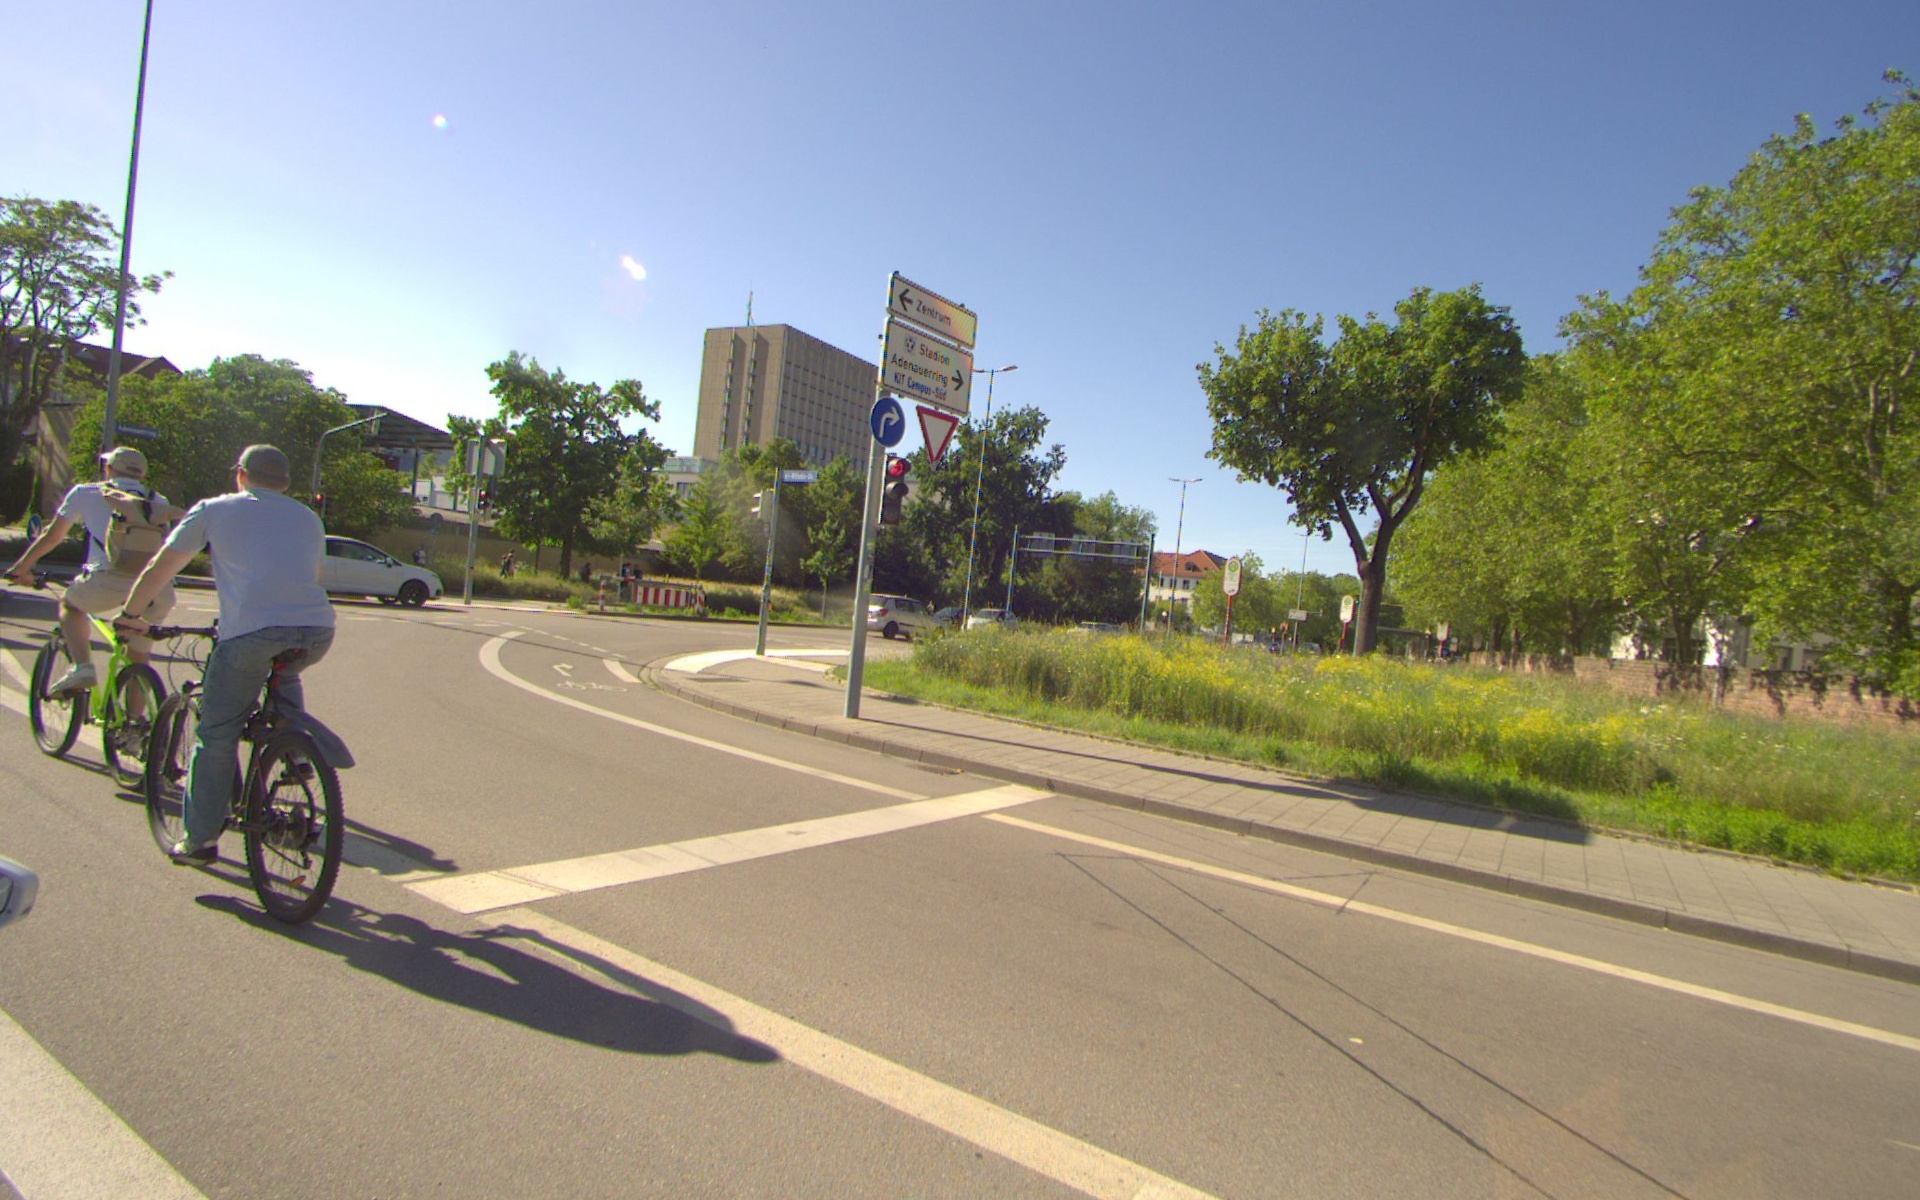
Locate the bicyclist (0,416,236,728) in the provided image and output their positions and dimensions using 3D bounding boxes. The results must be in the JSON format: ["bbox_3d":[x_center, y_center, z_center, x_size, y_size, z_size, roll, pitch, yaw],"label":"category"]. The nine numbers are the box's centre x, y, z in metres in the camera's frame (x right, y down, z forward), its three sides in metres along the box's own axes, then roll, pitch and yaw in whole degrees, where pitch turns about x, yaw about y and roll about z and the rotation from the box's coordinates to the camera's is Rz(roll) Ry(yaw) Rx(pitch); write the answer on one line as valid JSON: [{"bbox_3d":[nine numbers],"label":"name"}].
[{"bbox_3d":[-4.830,-0.161,5.683,1.063,1.601,0.675,7,-1,31],"label":"bicyclist"}]

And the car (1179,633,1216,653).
[{"bbox_3d":[23.616,4.261,99.982,1.969,1.625,4.504,7,0,35],"label":"car"}]

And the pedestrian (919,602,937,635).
[{"bbox_3d":[-2.260,1.274,70.352,0.633,2.194,0.912,7,1,35],"label":"pedestrian"}]

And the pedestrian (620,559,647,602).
[{"bbox_3d":[-17.260,-1.030,53.222,0.800,2.106,0.896,7,1,35],"label":"pedestrian"}]

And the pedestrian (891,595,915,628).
[{"bbox_3d":[-3.915,0.807,69.306,0.966,2.106,1.186,7,1,35],"label":"pedestrian"}]

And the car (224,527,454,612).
[{"bbox_3d":[-13.777,-0.640,22.485,1.735,1.390,3.981,7,0,41],"label":"car"}]

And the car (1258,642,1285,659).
[{"bbox_3d":[36.718,5.945,118.493,1.891,1.625,4.075,7,0,32],"label":"car"}]

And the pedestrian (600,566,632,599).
[{"bbox_3d":[-17.598,-0.876,51.439,0.865,1.540,1.144,7,1,35],"label":"pedestrian"}]

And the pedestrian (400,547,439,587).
[{"bbox_3d":[-22.952,-1.383,42.728,0.917,1.540,1.083,7,1,41],"label":"pedestrian"}]

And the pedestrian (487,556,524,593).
[{"bbox_3d":[-20.487,-1.152,45.350,0.865,1.540,1.074,7,1,36],"label":"pedestrian"}]

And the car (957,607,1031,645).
[{"bbox_3d":[1.880,1.405,54.231,1.882,1.625,4.124,7,0,37],"label":"car"}]

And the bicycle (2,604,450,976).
[{"bbox_3d":[-3.060,0.658,4.142,1.871,1.064,0.748,6,1,30],"label":"bicycle"}]

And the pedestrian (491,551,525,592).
[{"bbox_3d":[-20.892,-1.312,46.540,0.911,1.754,0.963,7,1,35],"label":"pedestrian"}]

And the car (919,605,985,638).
[{"bbox_3d":[-0.421,1.281,59.315,1.806,1.590,3.989,7,0,34],"label":"car"}]

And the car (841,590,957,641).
[{"bbox_3d":[-2.140,0.573,35.845,1.868,1.419,3.839,3,-4,42],"label":"car"}]

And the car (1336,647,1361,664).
[{"bbox_3d":[52.776,7.565,136.572,1.968,2.062,4.836,7,0,33],"label":"car"}]

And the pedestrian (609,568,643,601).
[{"bbox_3d":[-16.945,-0.792,51.019,0.975,1.540,1.129,7,1,35],"label":"pedestrian"}]

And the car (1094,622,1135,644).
[{"bbox_3d":[12.830,2.724,83.545,1.782,1.509,3.958,4,-2,33],"label":"car"}]

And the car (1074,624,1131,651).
[{"bbox_3d":[10.646,2.833,74.908,1.909,1.613,4.860,7,0,38],"label":"car"}]

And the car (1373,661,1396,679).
[{"bbox_3d":[42.125,6.923,99.694,1.712,1.535,3.995,7,0,27],"label":"car"}]

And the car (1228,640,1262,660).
[{"bbox_3d":[28.866,5.051,101.805,1.968,1.625,4.127,7,0,35],"label":"car"}]

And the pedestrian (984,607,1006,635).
[{"bbox_3d":[2.828,1.716,81.167,1.065,2.106,1.231,7,1,35],"label":"pedestrian"}]

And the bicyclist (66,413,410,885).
[{"bbox_3d":[-2.943,0.162,4.123,0.851,1.695,0.741,7,1,30],"label":"bicyclist"}]

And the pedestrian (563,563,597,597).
[{"bbox_3d":[-18.799,-0.976,49.787,0.927,1.540,1.145,7,1,38],"label":"pedestrian"}]

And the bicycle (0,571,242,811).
[{"bbox_3d":[-4.952,0.455,5.697,1.813,1.063,0.672,6,-1,31],"label":"bicycle"}]

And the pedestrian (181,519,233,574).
[{"bbox_3d":[-28.450,-2.005,38.013,0.953,1.879,1.294,7,1,43],"label":"pedestrian"}]
